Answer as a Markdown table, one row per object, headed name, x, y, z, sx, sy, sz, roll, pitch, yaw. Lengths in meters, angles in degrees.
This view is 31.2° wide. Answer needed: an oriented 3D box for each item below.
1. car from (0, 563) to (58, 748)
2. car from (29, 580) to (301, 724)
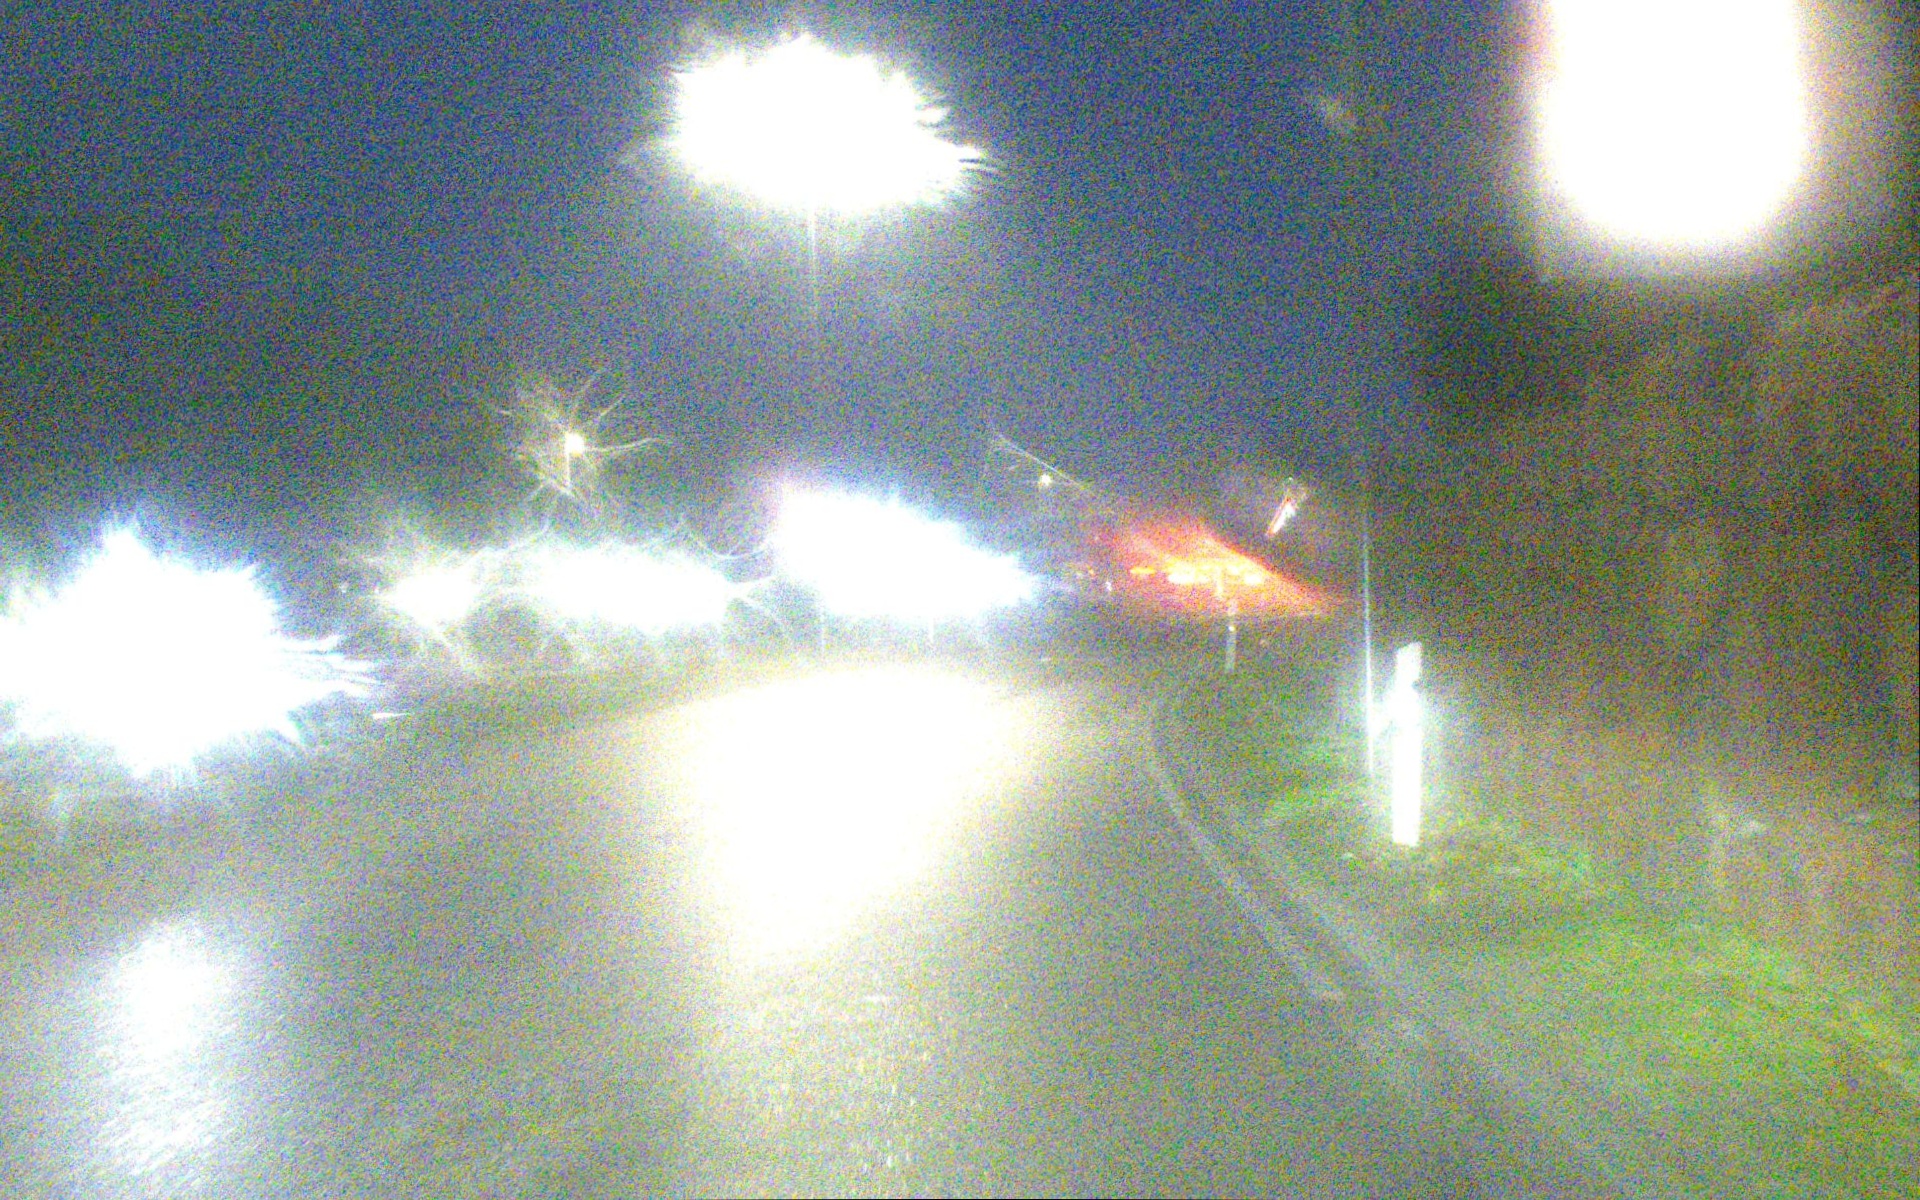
| name | x | y | z | sx | sy | sz | roll | pitch | yaw |
| --- | --- | --- | --- | --- | --- | --- | --- | --- | --- |
| car | -9.693 | 0.510 | 30.996 | 1.718 | 1.697 | 4.142 | 0 | 0 | 5 |
| car | -8.941 | 0.586 | 39.053 | 1.708 | 1.529 | 4.599 | 0 | -1 | 5 |
